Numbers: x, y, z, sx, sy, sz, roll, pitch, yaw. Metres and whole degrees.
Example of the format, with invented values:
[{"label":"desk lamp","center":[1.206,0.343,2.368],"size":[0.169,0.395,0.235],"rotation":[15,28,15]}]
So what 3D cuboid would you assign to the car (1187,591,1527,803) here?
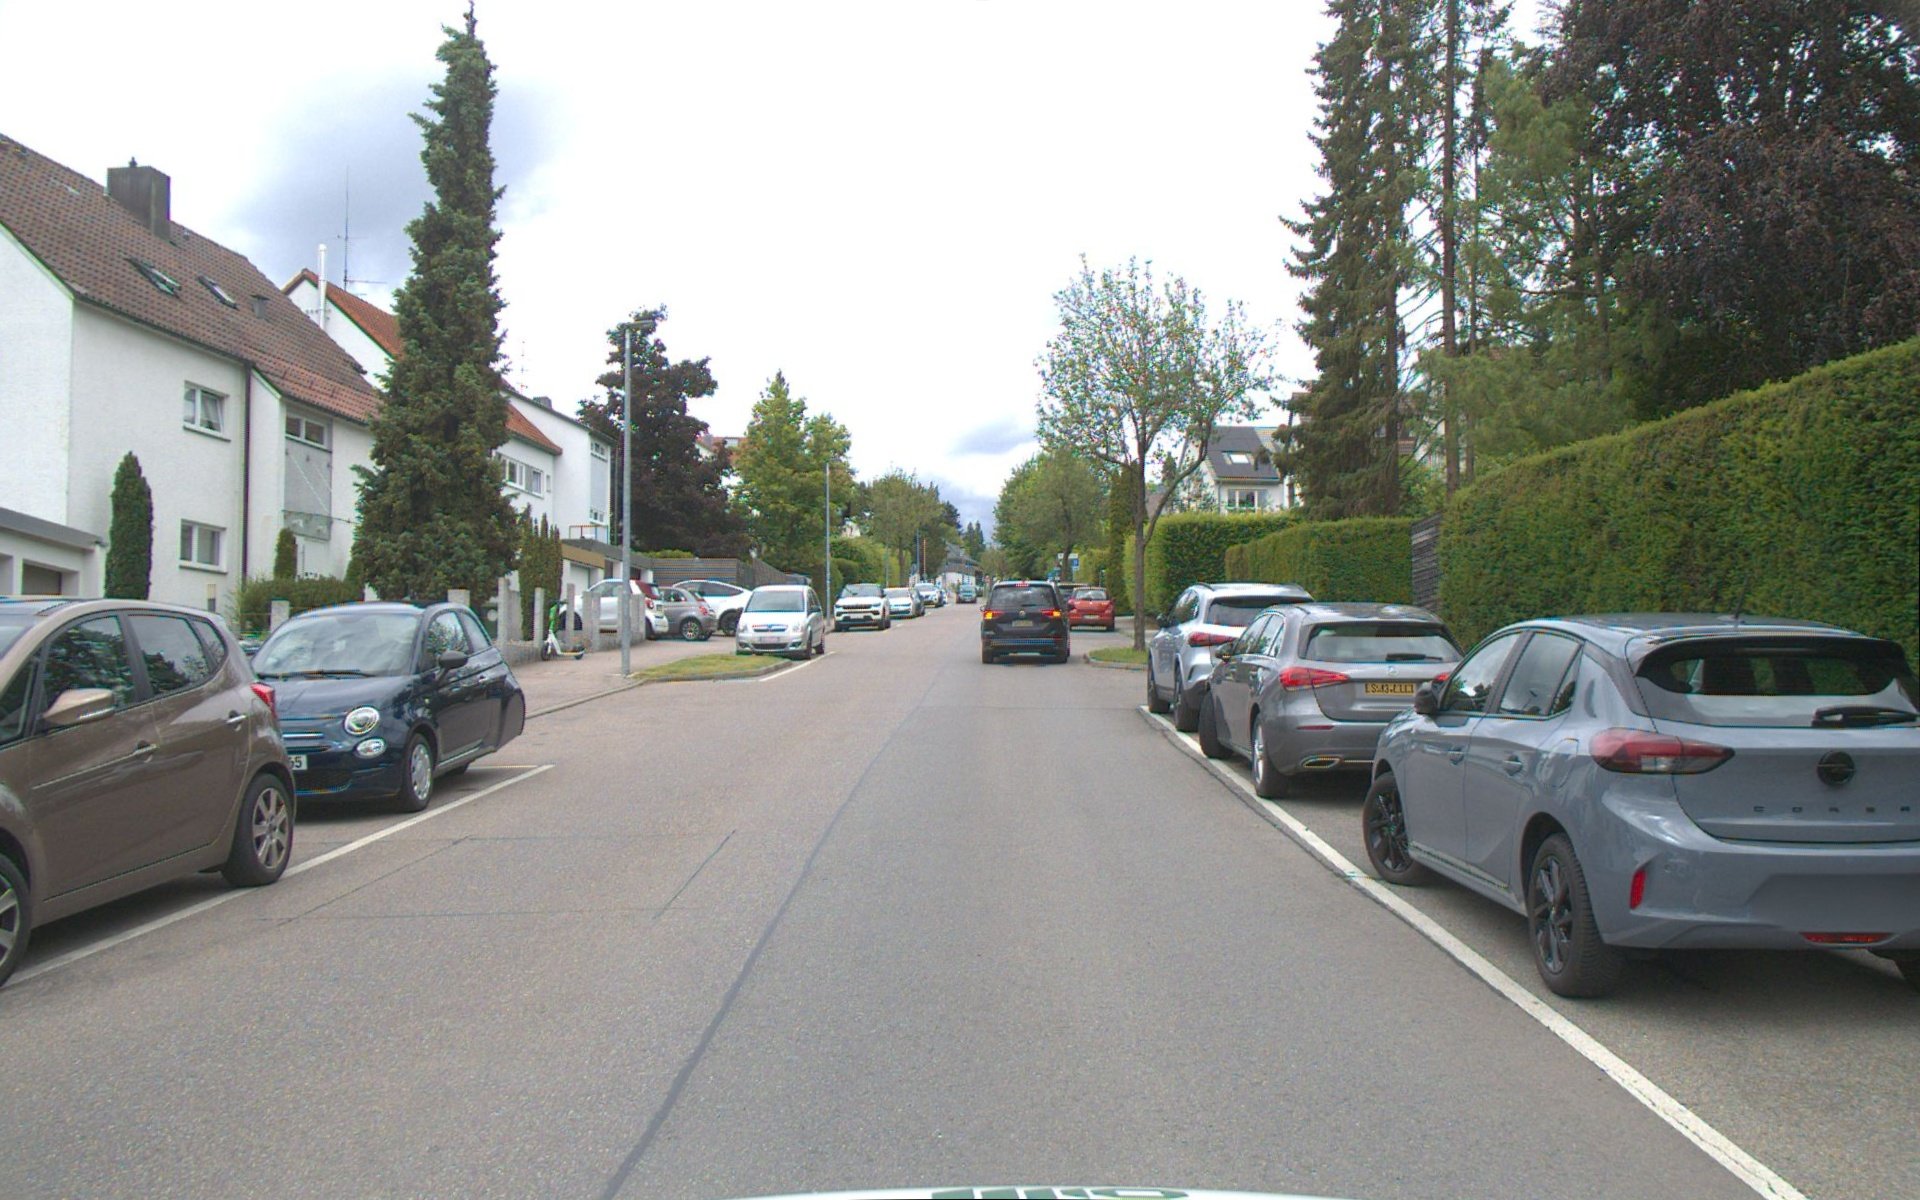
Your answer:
[{"label":"car","center":[3.092,0.682,13.761],"size":[1.817,1.489,4.172],"rotation":[0,0,0]}]

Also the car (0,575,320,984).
[{"label":"car","center":[-4.673,0.713,7.602],"size":[1.838,1.612,3.873],"rotation":[-1,0,2]}]

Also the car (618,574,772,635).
[{"label":"car","center":[-8.019,0.132,50.312],"size":[4.321,1.657,1.911],"rotation":[2,0,1]}]

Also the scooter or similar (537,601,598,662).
[{"label":"scooter or similar","center":[-7.743,0.608,32.677],"size":[0.464,1.168,1.455],"rotation":[1,1,17]}]

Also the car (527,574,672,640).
[{"label":"car","center":[-9.424,0.190,43.393],"size":[3.358,1.606,1.657],"rotation":[2,-1,3]}]

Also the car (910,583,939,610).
[{"label":"car","center":[-2.164,-0.216,102.339],"size":[1.687,1.567,4.000],"rotation":[-2,1,-1]}]

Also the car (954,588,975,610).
[{"label":"car","center":[0.418,-0.109,148.436],"size":[1.846,1.883,4.402],"rotation":[-1,0,1]}]

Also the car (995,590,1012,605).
[{"label":"car","center":[4.879,-0.284,184.500],"size":[1.631,1.697,3.466],"rotation":[0,1,-2]}]

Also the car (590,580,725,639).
[{"label":"car","center":[-8.469,0.273,46.488],"size":[3.358,1.539,1.693],"rotation":[2,-1,3]}]

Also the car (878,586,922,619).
[{"label":"car","center":[-2.778,0.075,77.822],"size":[1.799,1.447,4.409],"rotation":[-2,0,1]}]

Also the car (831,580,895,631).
[{"label":"car","center":[-3.425,0.170,59.359],"size":[1.799,1.695,4.410],"rotation":[-2,0,2]}]

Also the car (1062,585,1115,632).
[{"label":"car","center":[4.374,0.252,56.776],"size":[1.626,1.534,3.759],"rotation":[0,1,2]}]

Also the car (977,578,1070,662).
[{"label":"car","center":[1.344,0.385,34.647],"size":[1.809,1.640,4.312],"rotation":[0,0,3]}]

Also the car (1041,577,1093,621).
[{"label":"car","center":[4.254,-0.049,66.465],"size":[1.952,1.646,4.515],"rotation":[1,0,2]}]

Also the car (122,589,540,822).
[{"label":"car","center":[-4.729,0.708,13.015],"size":[1.838,1.563,3.508],"rotation":[-1,0,2]}]

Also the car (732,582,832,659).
[{"label":"car","center":[-3.973,0.426,37.436],"size":[1.724,1.590,3.856],"rotation":[-2,0,1]}]

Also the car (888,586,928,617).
[{"label":"car","center":[-2.596,0.087,82.799],"size":[1.691,1.448,4.080],"rotation":[-2,0,2]}]

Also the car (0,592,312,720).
[{"label":"car","center":[-10.073,0.627,19.385],"size":[4.201,1.391,1.903],"rotation":[-1,0,-4]}]

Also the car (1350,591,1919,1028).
[{"label":"car","center":[3.193,0.717,7.665],"size":[1.817,1.489,4.000],"rotation":[0,0,0]}]

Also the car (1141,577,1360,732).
[{"label":"car","center":[3.276,0.569,19.429],"size":[1.817,1.610,4.172],"rotation":[0,0,0]}]
